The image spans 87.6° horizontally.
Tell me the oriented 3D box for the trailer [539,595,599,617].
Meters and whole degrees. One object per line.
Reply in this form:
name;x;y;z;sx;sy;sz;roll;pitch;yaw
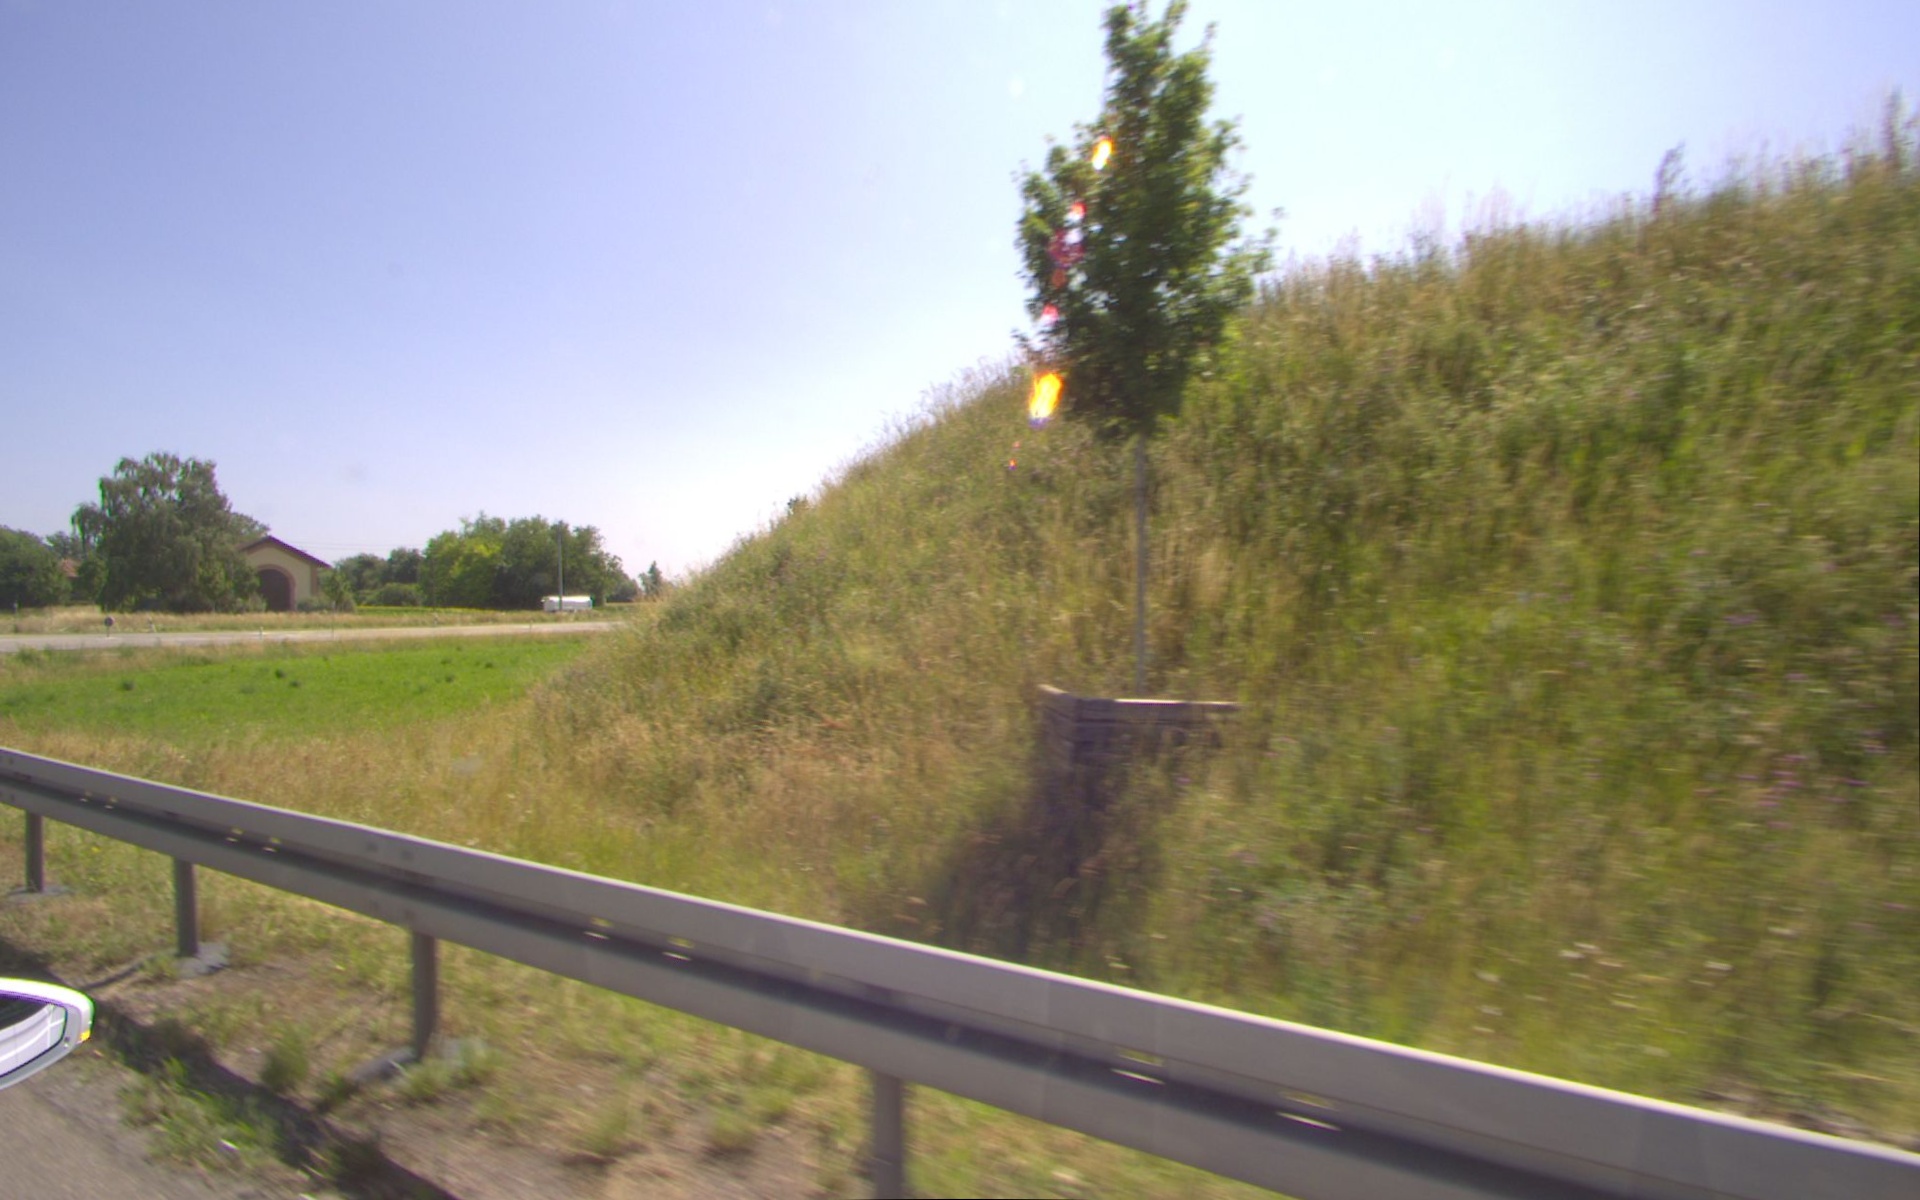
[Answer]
trailer;-47.918;0.695;122.855;2.652;2.489;6.337;2;2;38
